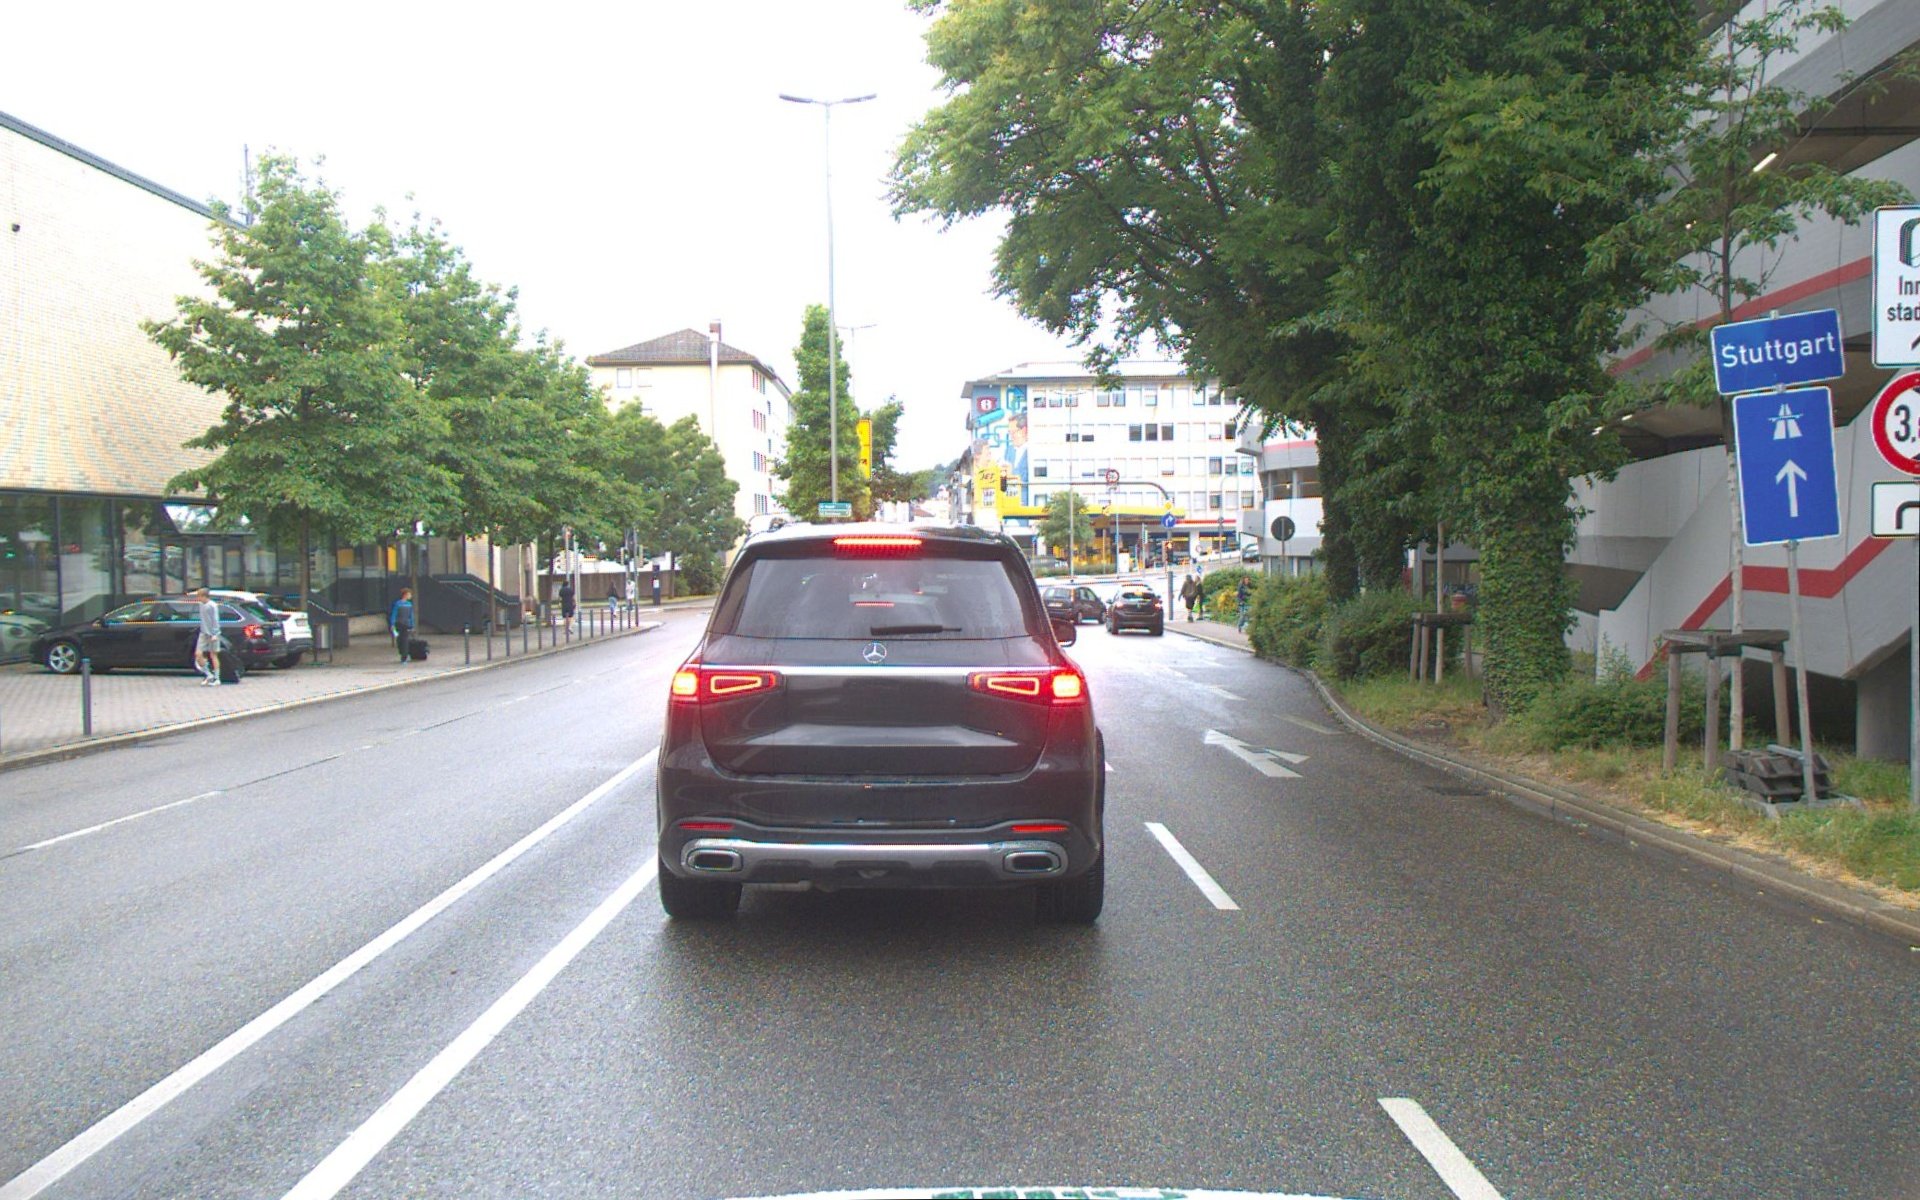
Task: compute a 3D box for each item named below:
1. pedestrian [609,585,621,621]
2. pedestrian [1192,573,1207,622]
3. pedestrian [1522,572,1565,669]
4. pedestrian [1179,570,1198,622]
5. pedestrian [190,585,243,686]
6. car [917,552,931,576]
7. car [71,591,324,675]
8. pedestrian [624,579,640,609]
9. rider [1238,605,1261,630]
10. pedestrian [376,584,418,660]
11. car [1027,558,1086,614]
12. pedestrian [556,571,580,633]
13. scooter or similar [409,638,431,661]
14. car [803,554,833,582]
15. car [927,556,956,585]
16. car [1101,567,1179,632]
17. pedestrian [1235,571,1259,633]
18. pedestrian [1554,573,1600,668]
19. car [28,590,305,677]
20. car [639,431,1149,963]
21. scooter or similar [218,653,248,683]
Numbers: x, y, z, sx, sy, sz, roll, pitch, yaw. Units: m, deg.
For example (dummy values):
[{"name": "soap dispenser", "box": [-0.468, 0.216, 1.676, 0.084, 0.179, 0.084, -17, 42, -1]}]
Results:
[{"name": "pedestrian", "box": [-16.254, 0.143, 77.941, 0.391, 1.673, 0.567, 1, -1, -1]}, {"name": "pedestrian", "box": [9.501, -0.098, 65.610, 0.509, 1.944, 0.556, 1, -1, -1]}, {"name": "pedestrian", "box": [9.547, 0.339, 27.070, 0.539, 1.559, 0.488, 1, -1, 5]}, {"name": "pedestrian", "box": [8.811, -0.158, 63.825, 0.607, 1.969, 0.610, 1, -1, 1]}, {"name": "pedestrian", "box": [-12.912, 0.617, 28.736, 0.662, 1.727, 0.479, 1, 0, -1]}, {"name": "car", "box": [-5.389, -5.362, 245.367, 1.953, 2.036, 4.023, 1, 24, -2]}, {"name": "car", "box": [-15.781, 0.659, 34.430, 4.331, 1.601, 1.998, 1, 2, -6]}, {"name": "pedestrian", "box": [-16.714, -0.306, 84.261, 0.697, 1.487, 0.598, 1, -1, -2]}, {"name": "rider", "box": [9.048, 0.537, 51.736, 0.679, 0.753, 0.633, 1, -1, 7]}, {"name": "pedestrian", "box": [-13.092, 0.520, 38.485, 0.675, 1.756, 0.753, 1, -3, -2]}, {"name": "car", "box": [3.654, -0.519, 63.395, 1.953, 2.049, 3.999, 1, 0, -1]}, {"name": "pedestrian", "box": [-13.257, 0.057, 55.983, 0.576, 2.048, 0.749, 3, 1, -3]}, {"name": "scooter or similar", "box": [-12.813, 1.176, 39.253, 0.352, 0.545, 0.499, 1, -2, -2]}, {"name": "car", "box": [-10.390, -2.338, 121.363, 1.954, 1.908, 5.139, 1, 0, -3]}, {"name": "car", "box": [-1.411, -2.220, 125.263, 1.954, 2.049, 3.997, 1, 0, -4]}, {"name": "car", "box": [5.895, -0.038, 54.620, 1.954, 2.049, 3.998, 0, 1, -3]}, {"name": "pedestrian", "box": [9.072, 0.068, 52.231, 0.648, 1.951, 0.729, 1, -1, 3]}, {"name": "pedestrian", "box": [10.119, 0.329, 27.123, 0.569, 1.528, 0.504, 1, -1, 4]}, {"name": "car", "box": [-15.221, 0.624, 31.955, 4.383, 1.615, 1.997, 0, 0, -8]}, {"name": "car", "box": [-0.322, 0.395, 8.462, 1.953, 2.049, 3.998, 1, 0, -2]}, {"name": "scooter or similar", "box": [-12.895, 1.206, 29.345, 0.274, 0.509, 0.616, 1, 0, -1]}]
